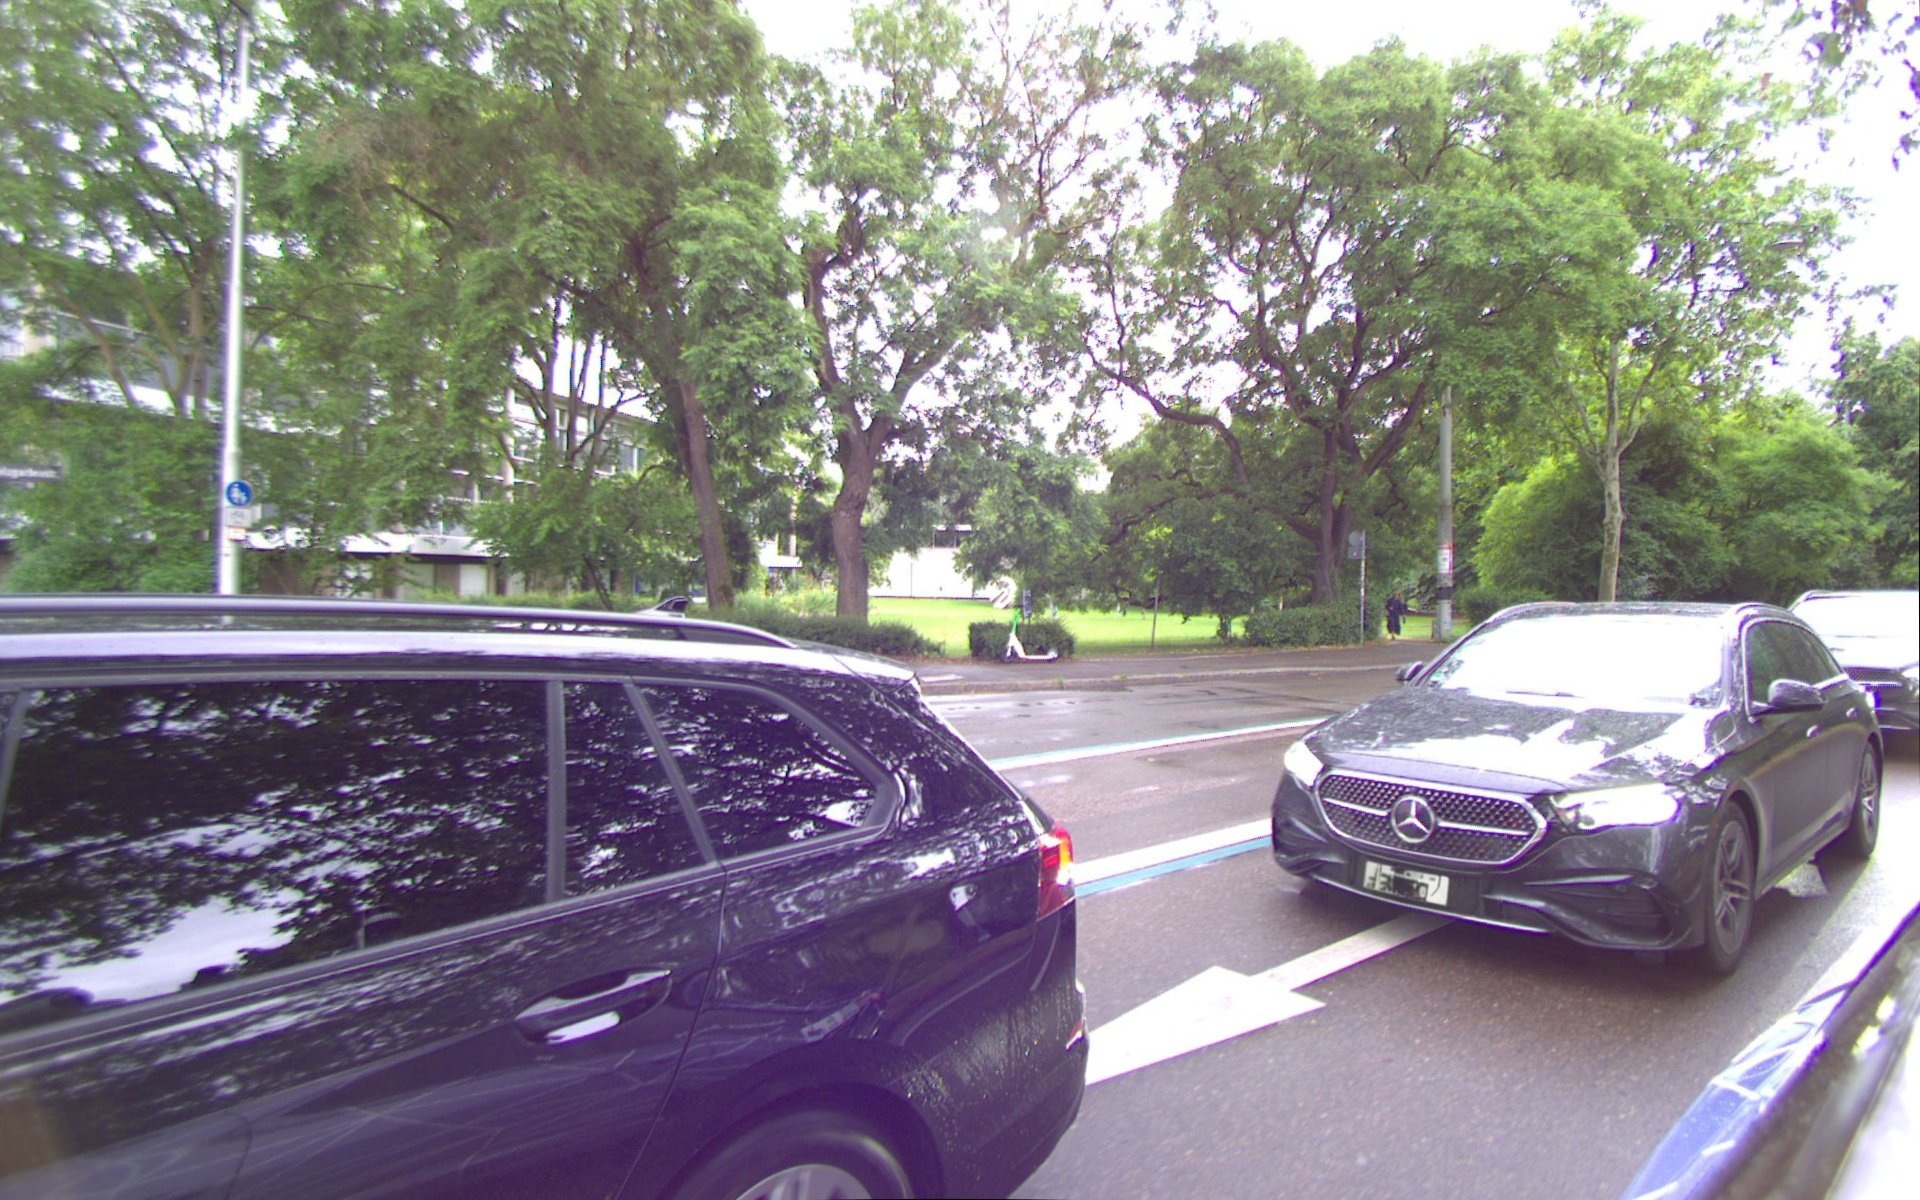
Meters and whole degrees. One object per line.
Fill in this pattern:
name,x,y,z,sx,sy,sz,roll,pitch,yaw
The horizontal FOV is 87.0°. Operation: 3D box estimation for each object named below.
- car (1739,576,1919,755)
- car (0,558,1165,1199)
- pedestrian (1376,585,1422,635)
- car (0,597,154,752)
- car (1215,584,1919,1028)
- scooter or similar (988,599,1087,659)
car,10.150,0.596,11.004,4.498,1.628,1.831,0,-1,-41
car,-1.745,0.687,1.411,4.434,1.484,1.672,1,0,-42
pedestrian,14.546,0.327,33.573,1.038,1.626,1.071,-1,0,1
car,-10.997,0.704,10.040,4.311,1.468,1.872,0,0,-19
car,3.672,0.677,5.628,4.842,1.464,1.883,0,0,-40
scooter or similar,1.535,0.584,20.044,1.851,1.114,0.559,1,3,-19
